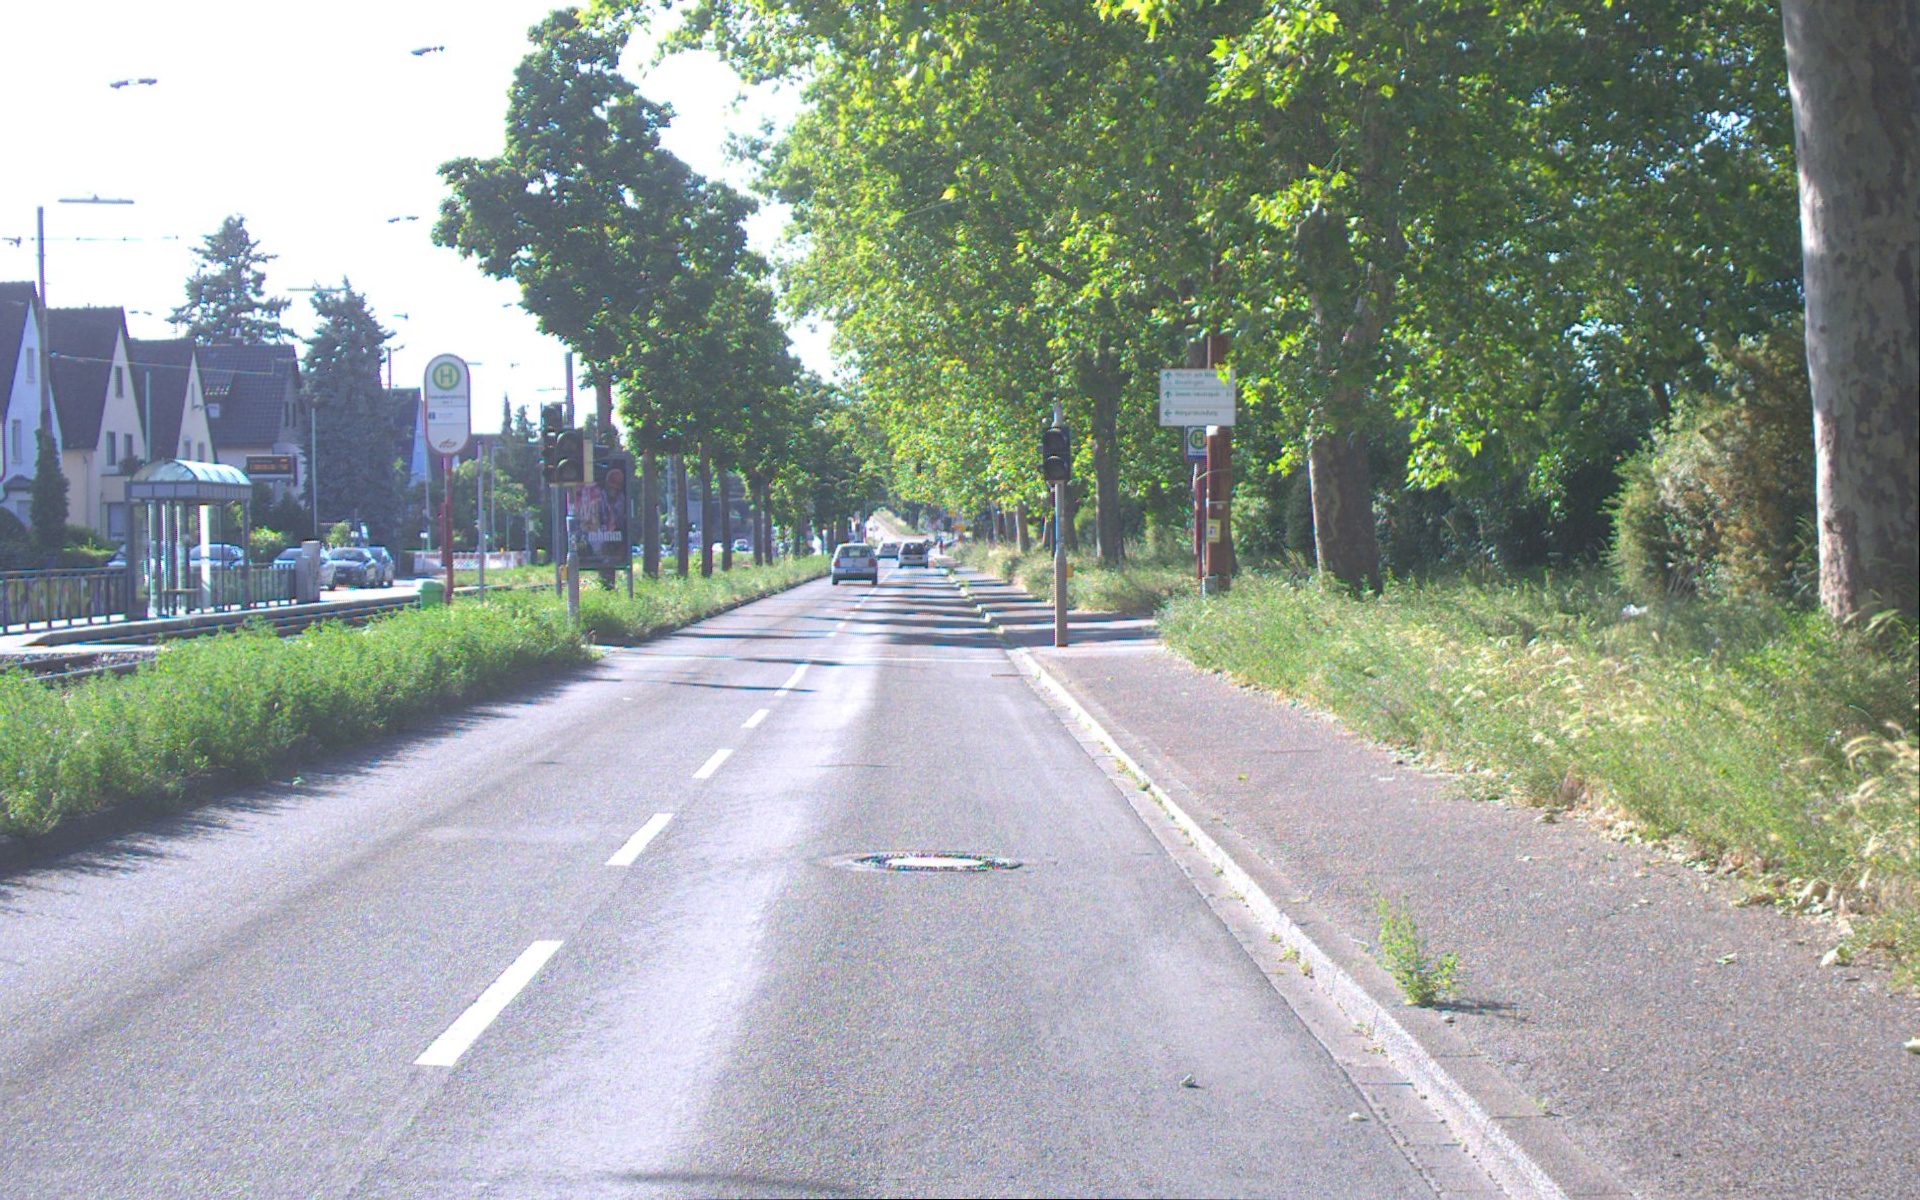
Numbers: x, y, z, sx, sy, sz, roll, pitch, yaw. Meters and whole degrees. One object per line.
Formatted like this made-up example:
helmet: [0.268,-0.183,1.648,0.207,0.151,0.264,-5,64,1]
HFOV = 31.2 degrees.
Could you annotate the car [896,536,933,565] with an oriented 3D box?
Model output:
car: [-2.545,-2.750,192.140,1.993,1.598,4.473,1,1,-1]

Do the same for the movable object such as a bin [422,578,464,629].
movable object such as a bin: [-6.056,0.041,40.285,0.386,0.580,0.379,1,0,8]

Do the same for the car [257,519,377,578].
car: [-29.059,-2.322,155.459,5.028,2.616,2.102,0,1,0]

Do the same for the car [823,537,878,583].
car: [-3.866,-1.412,121.615,1.860,1.595,4.228,1,1,-1]

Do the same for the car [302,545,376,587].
car: [-23.354,-1.290,129.424,1.993,1.445,4.128,3,0,-1]

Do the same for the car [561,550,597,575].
car: [-24.149,-2.402,218.121,1.860,1.537,4.228,1,1,-1]

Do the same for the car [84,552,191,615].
car: [-23.145,-0.482,96.913,1.993,1.707,4.391,1,0,-1]

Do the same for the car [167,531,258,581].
car: [-23.143,-1.354,106.546,1.926,1.490,4.256,1,1,-1]
